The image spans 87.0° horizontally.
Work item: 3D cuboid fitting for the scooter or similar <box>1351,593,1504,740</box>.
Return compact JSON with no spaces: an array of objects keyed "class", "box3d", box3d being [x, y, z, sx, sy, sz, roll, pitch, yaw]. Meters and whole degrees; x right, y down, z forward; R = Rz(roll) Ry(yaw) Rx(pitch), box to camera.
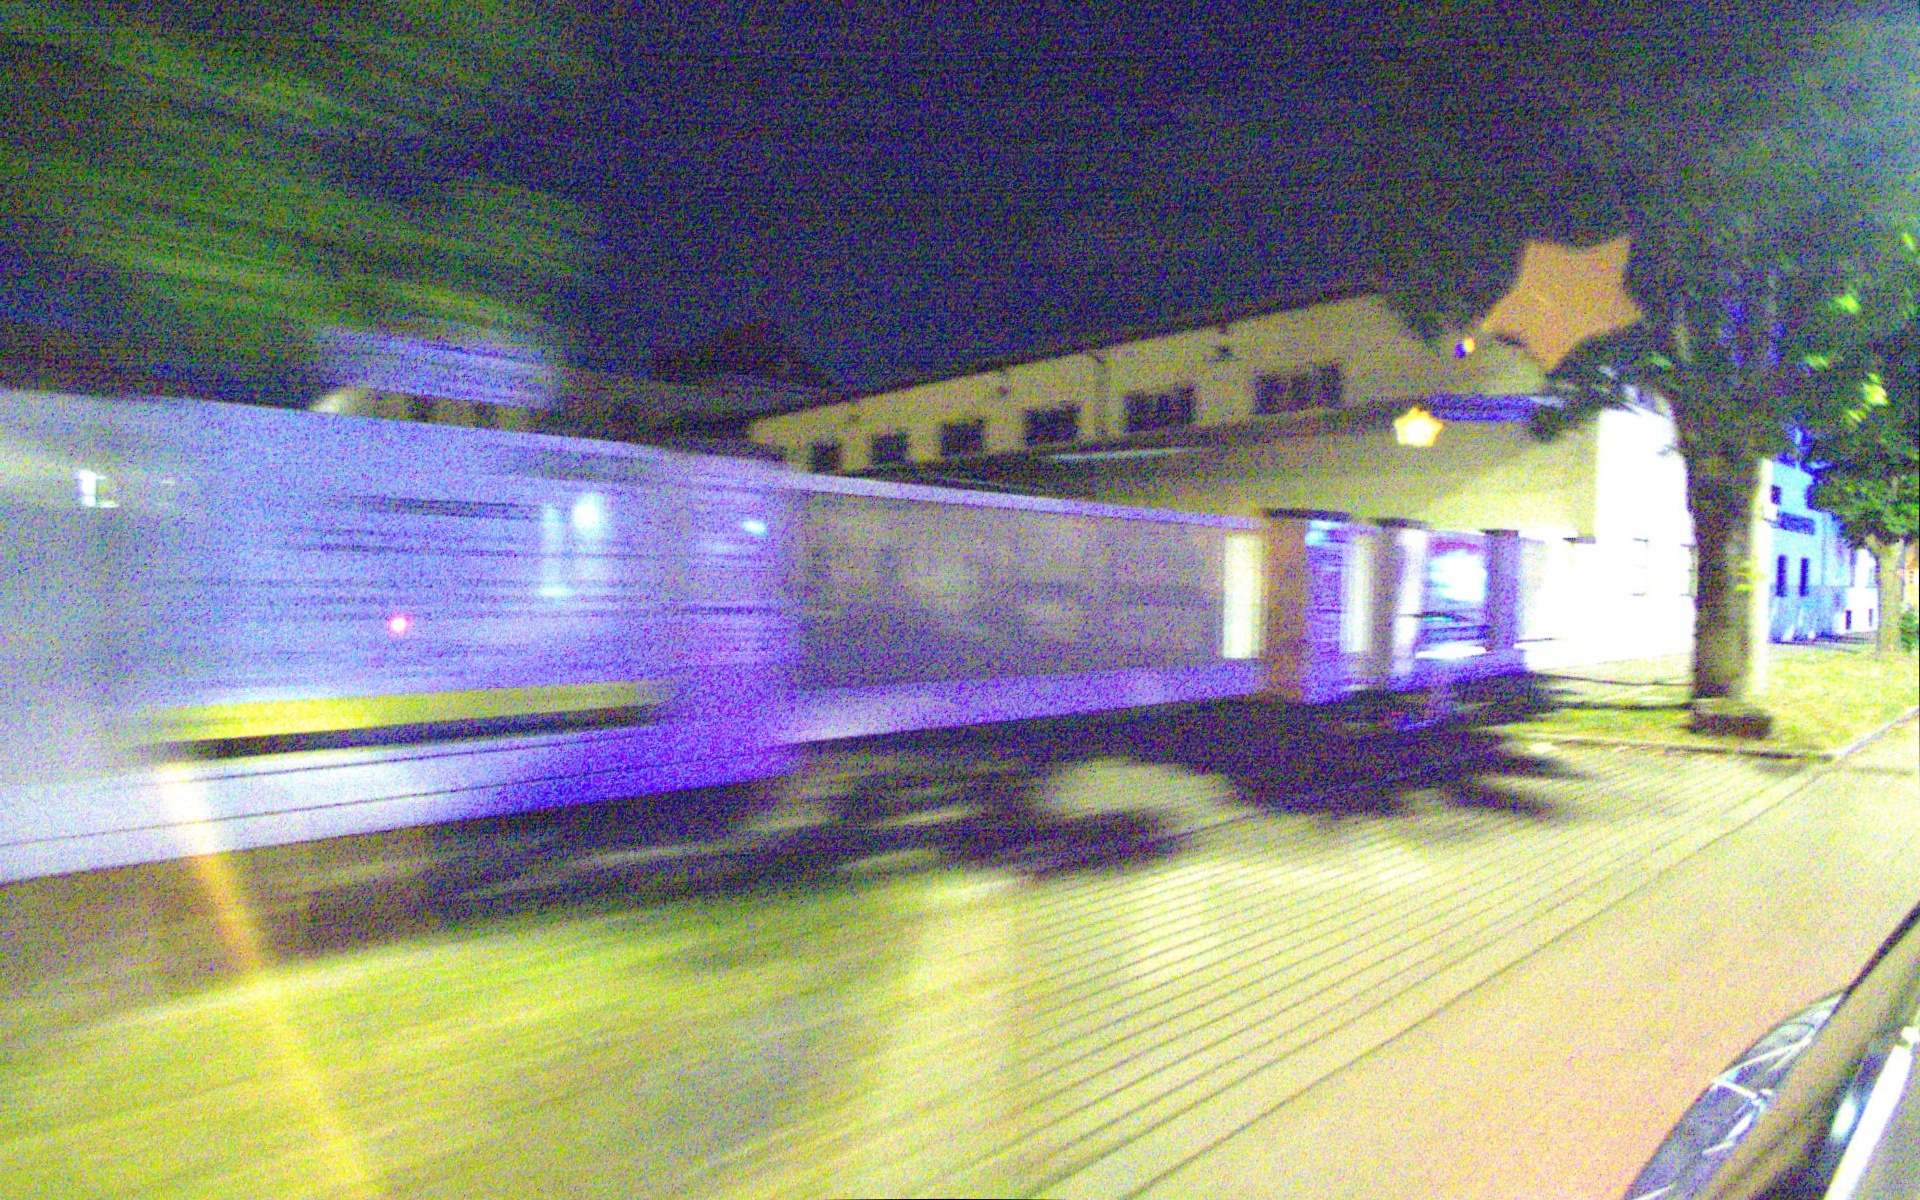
[{"class":"scooter or similar","box3d":[4.443,0.573,9.560,1.877,1.217,0.548,-1,4,-41]}]
